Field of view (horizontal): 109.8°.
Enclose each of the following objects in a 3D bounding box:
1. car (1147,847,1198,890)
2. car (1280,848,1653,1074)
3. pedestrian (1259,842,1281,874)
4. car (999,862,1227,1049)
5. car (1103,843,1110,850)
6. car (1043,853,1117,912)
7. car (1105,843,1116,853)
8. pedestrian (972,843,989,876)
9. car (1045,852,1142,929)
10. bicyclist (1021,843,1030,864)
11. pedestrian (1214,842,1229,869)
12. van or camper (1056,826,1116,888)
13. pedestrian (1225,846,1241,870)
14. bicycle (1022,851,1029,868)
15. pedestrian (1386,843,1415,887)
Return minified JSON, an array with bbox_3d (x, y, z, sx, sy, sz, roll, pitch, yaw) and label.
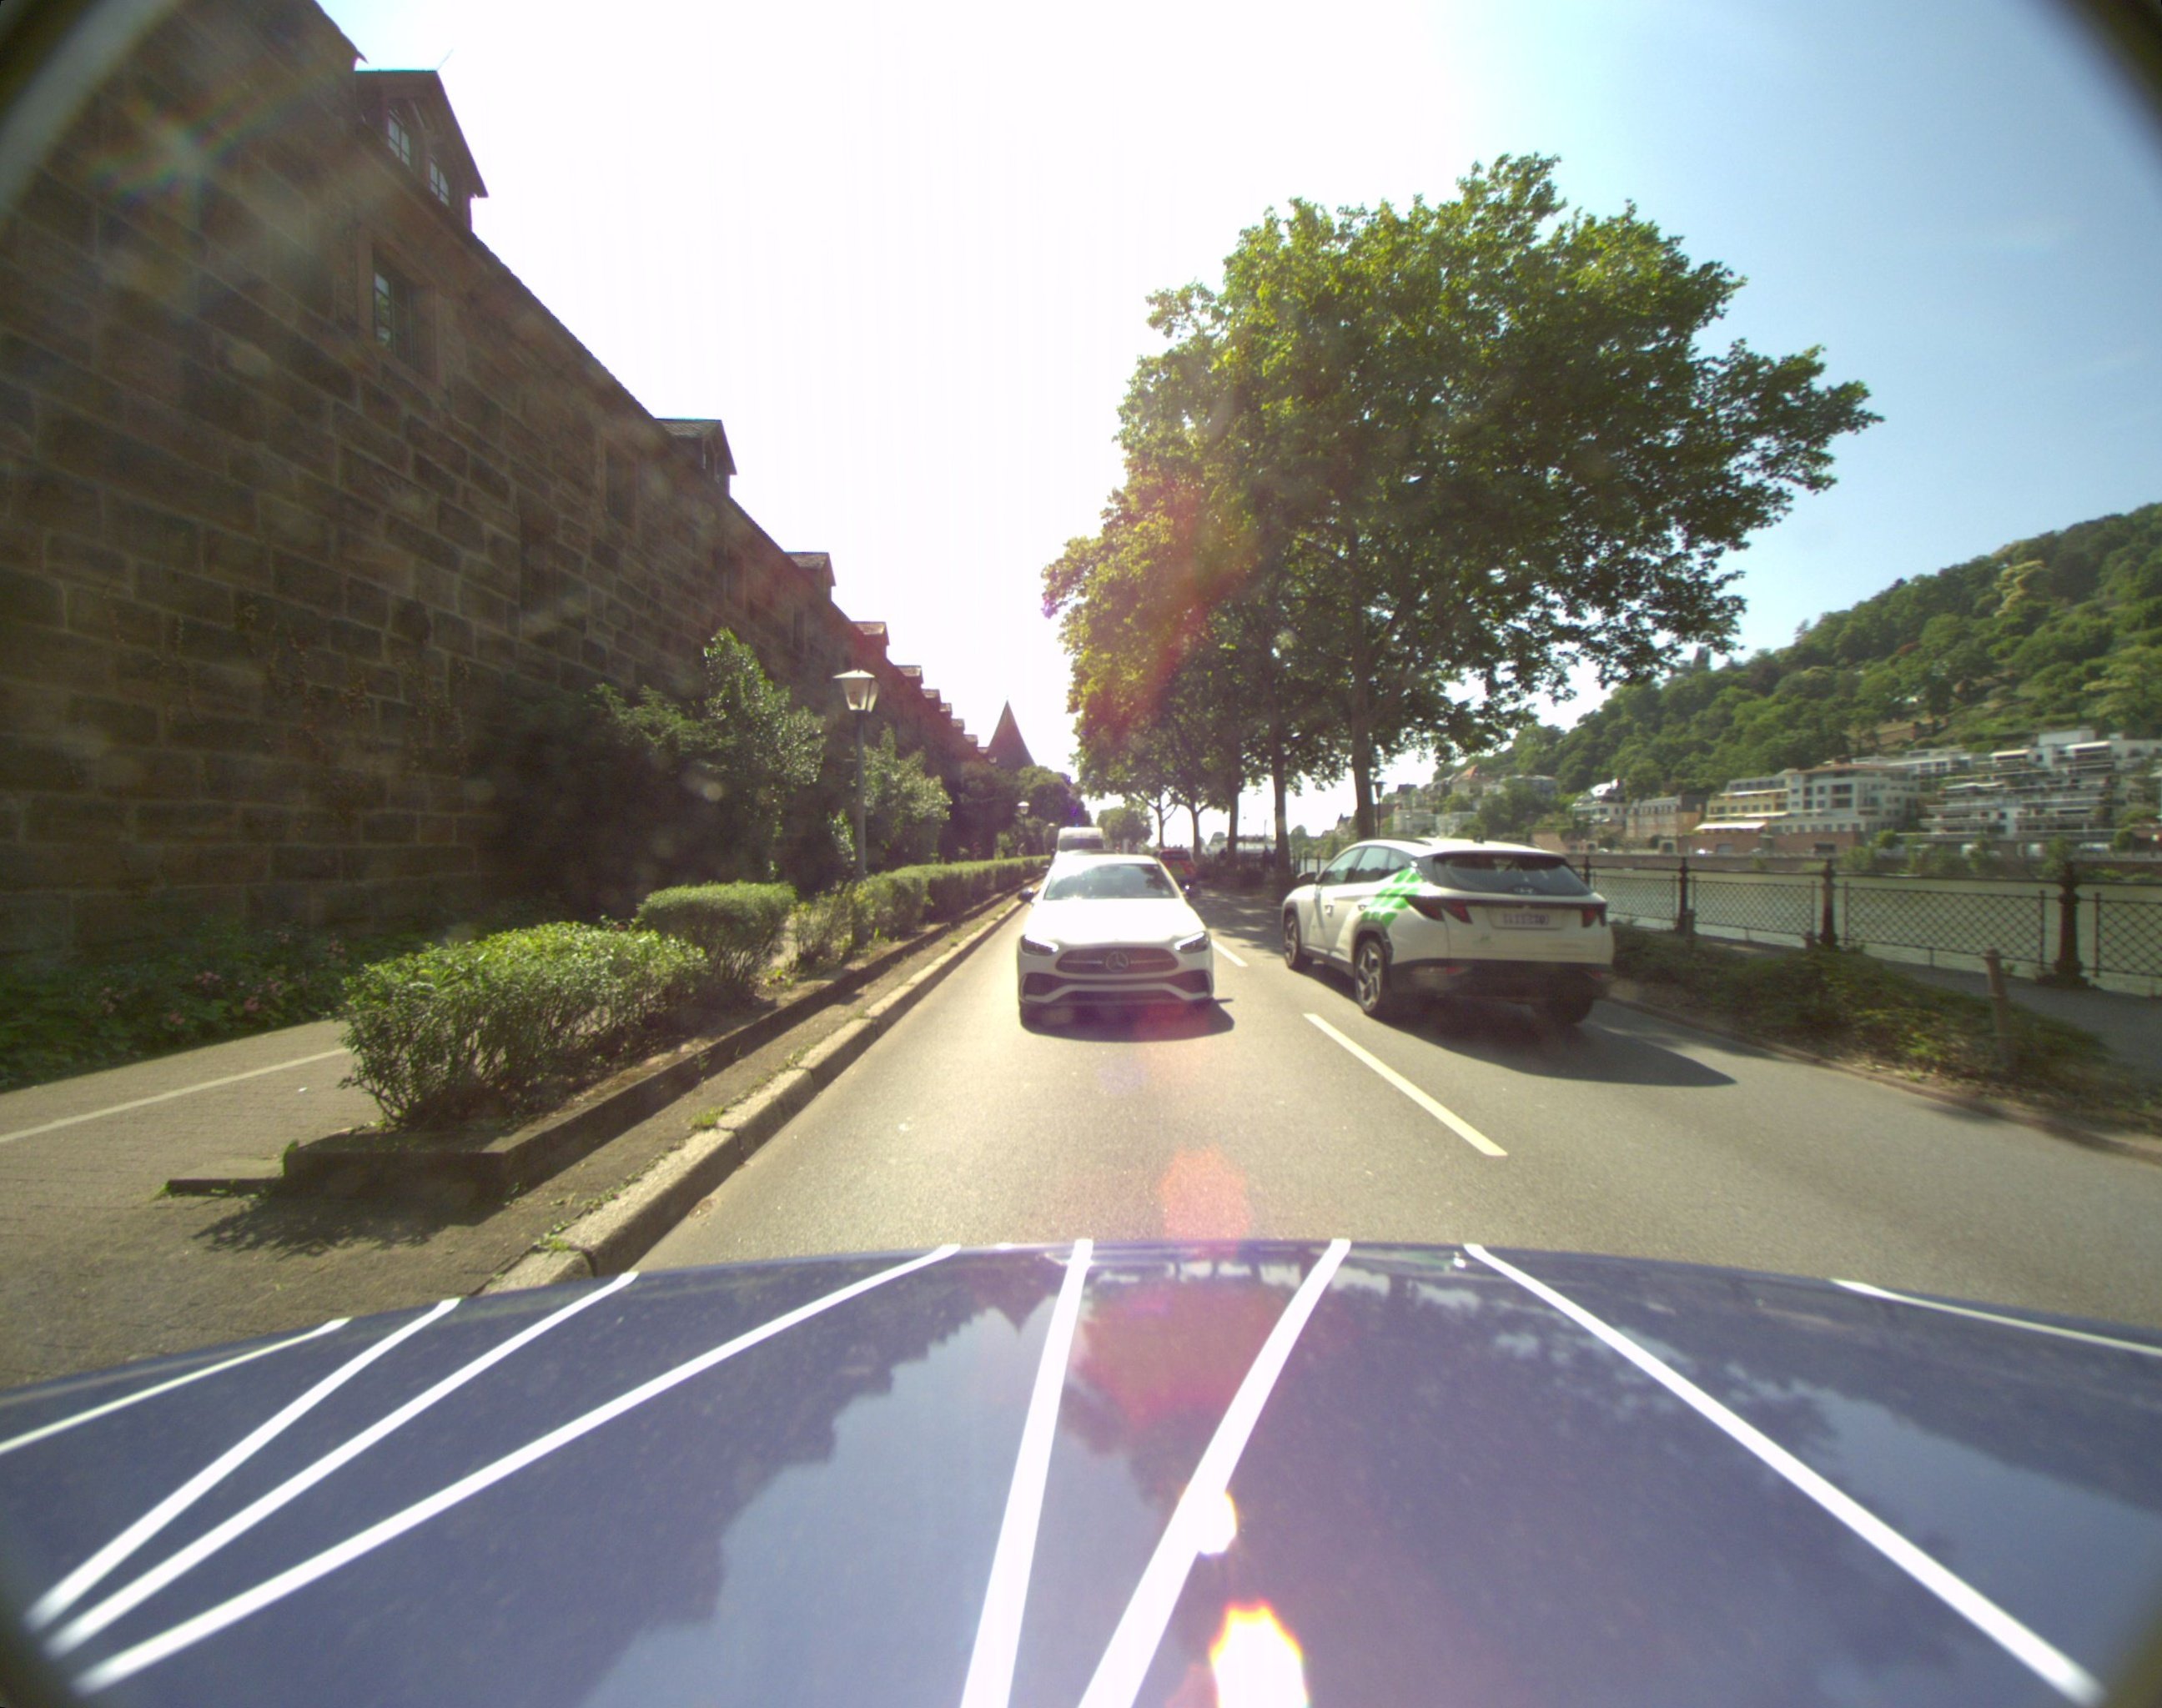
[{"bbox_3d":[3.888,0.562,32.900,1.677,1.650,4.222,2,1,0],"label":"car"},{"bbox_3d":[3.436,0.795,7.758,1.773,1.650,4.000,2,1,1],"label":"car"},{"bbox_3d":[12.232,0.249,49.197,1.047,2.002,1.036,-1,2,31],"label":"pedestrian"},{"bbox_3d":[0.291,0.859,8.361,1.833,1.395,4.270,-2,1,1],"label":"car"},{"bbox_3d":[7.877,-2.388,235.855,2.165,2.002,3.999,-2,1,1],"label":"car"},{"bbox_3d":[0.000,0.715,21.343,1.833,1.395,4.423,-2,1,1],"label":"car"},{"bbox_3d":[6.521,-1.406,168.725,2.165,2.002,3.999,-2,1,1],"label":"car"},{"bbox_3d":[-4.821,0.240,36.491,0.643,1.555,0.563,-2,2,1],"label":"pedestrian"},{"bbox_3d":[0.267,0.700,16.878,1.833,1.428,4.270,-2,1,1],"label":"car"},{"bbox_3d":[-3.964,-0.038,53.862,0.550,1.514,0.583,-2,2,-1],"label":"bicyclist"},{"bbox_3d":[9.676,0.078,52.242,0.806,1.839,0.929,-2,2,1],"label":"pedestrian"},{"bbox_3d":[0.190,0.085,32.193,2.313,2.358,5.034,1,1,0],"label":"van or camper"},{"bbox_3d":[10.561,0.246,52.821,0.897,1.625,1.059,-2,2,6],"label":"pedestrian"},{"bbox_3d":[-3.905,0.357,53.767,0.406,1.169,1.576,-2,1,-2],"label":"bicycle"},{"bbox_3d":[12.924,0.451,30.772,0.777,1.748,0.830,1,1,0],"label":"pedestrian"}]
